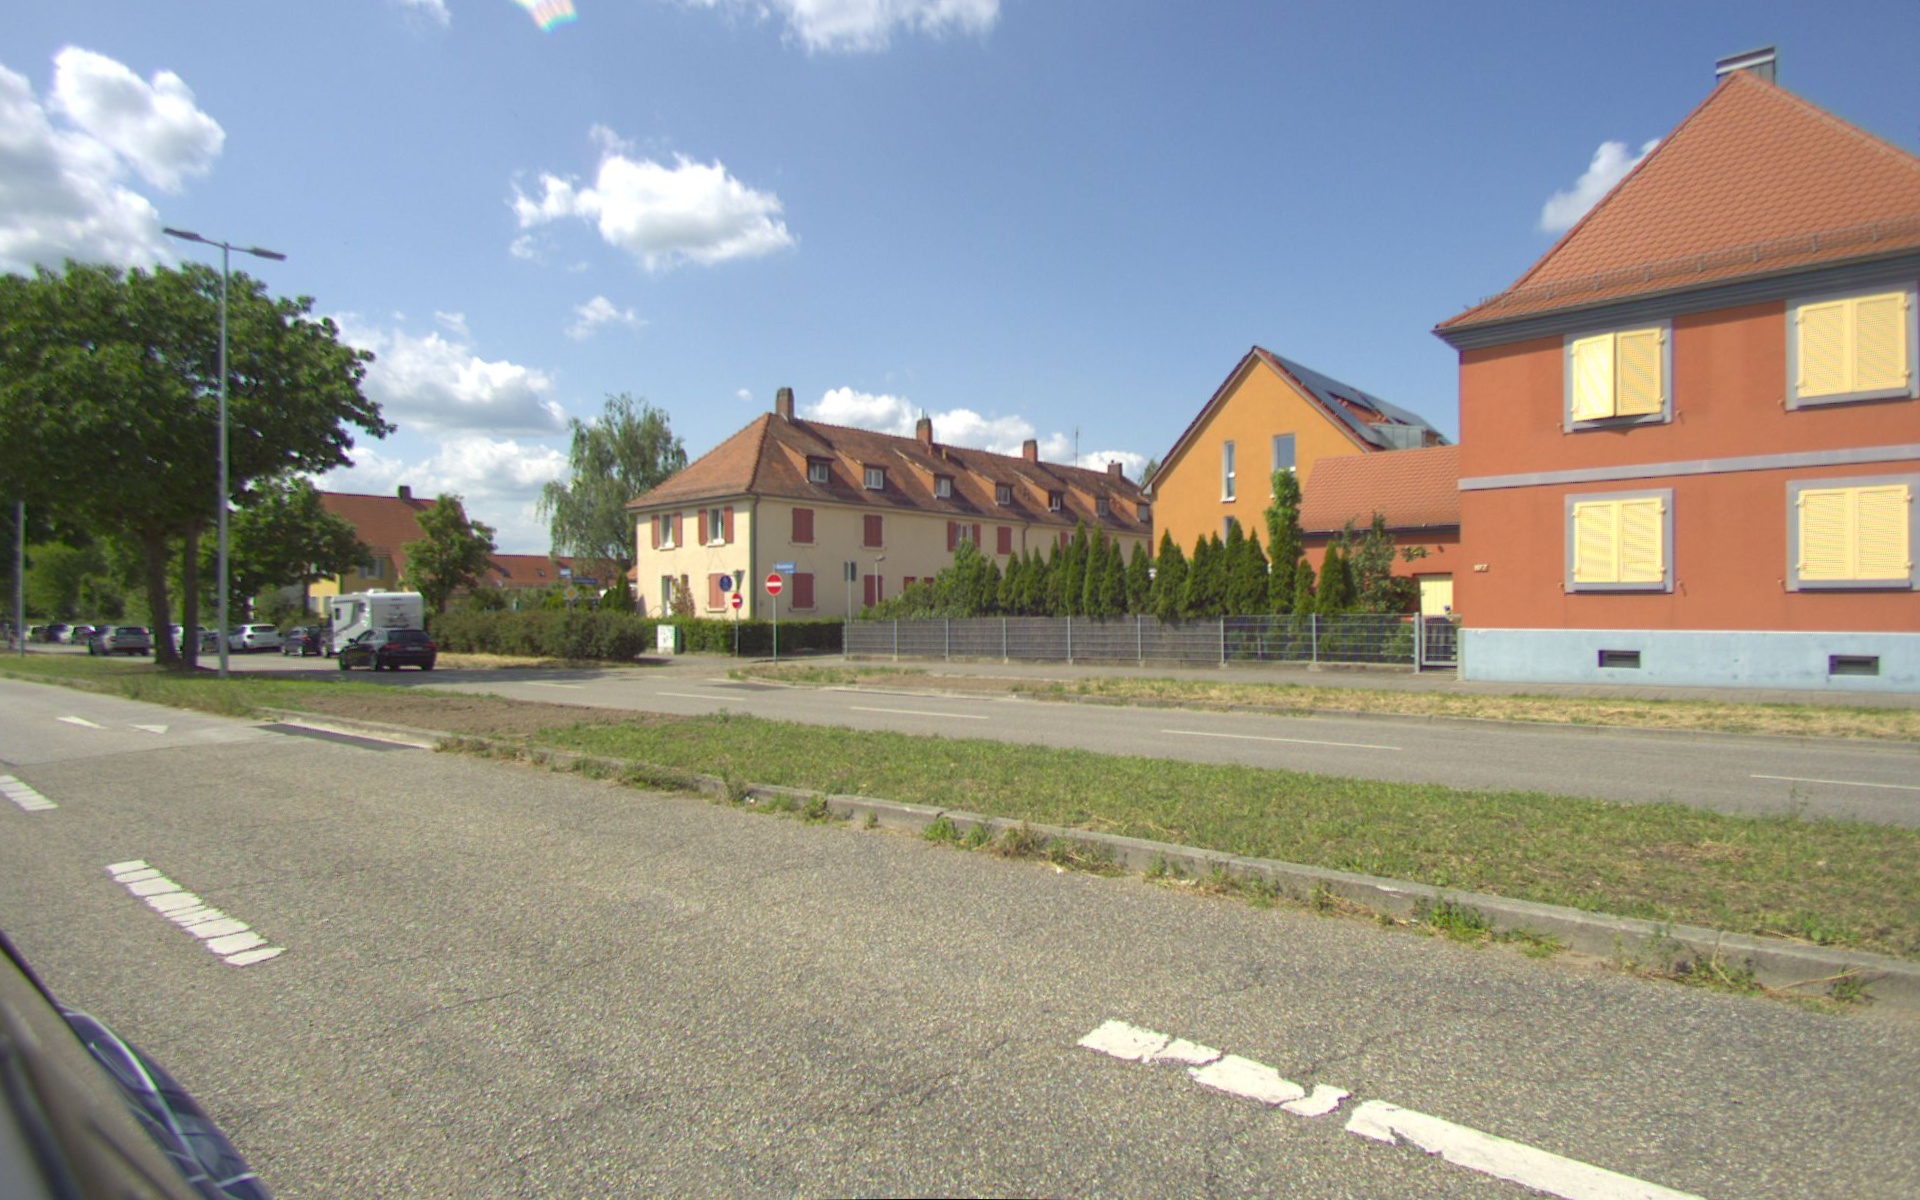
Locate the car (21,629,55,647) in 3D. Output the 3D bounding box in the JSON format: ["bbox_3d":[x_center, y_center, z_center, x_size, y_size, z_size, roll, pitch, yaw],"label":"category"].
[{"bbox_3d":[-82.052,3.369,90.075,3.529,1.472,1.579,-1,1,37],"label":"car"}]

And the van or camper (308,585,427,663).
[{"bbox_3d":[-26.434,1.073,45.001,7.315,3.135,2.236,-2,0,41],"label":"van or camper"}]

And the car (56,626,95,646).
[{"bbox_3d":[-71.255,2.898,81.527,3.841,1.462,1.645,-1,1,37],"label":"car"}]

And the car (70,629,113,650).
[{"bbox_3d":[-65.864,3.004,76.750,4.097,1.492,1.645,-2,1,37],"label":"car"}]

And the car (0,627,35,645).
[{"bbox_3d":[-90.254,3.442,96.905,3.994,1.563,1.751,-1,1,37],"label":"car"}]

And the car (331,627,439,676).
[{"bbox_3d":[-19.030,1.649,33.400,4.575,1.449,1.753,-1,-2,42],"label":"car"}]

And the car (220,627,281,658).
[{"bbox_3d":[-38.395,2.266,54.741,4.121,1.496,1.672,0,2,40],"label":"car"}]

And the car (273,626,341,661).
[{"bbox_3d":[-31.820,2.101,49.283,3.989,1.496,1.620,0,2,40],"label":"car"}]

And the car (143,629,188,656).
[{"bbox_3d":[-51.321,2.724,65.335,3.737,1.569,1.389,-1,1,38],"label":"car"}]

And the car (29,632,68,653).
[{"bbox_3d":[-77.310,3.576,85.821,4.307,1.624,1.645,-1,1,37],"label":"car"}]

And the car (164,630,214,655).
[{"bbox_3d":[-47.474,2.591,62.298,4.527,1.380,1.496,-2,1,40],"label":"car"}]

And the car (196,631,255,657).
[{"bbox_3d":[-42.071,2.502,57.919,4.580,1.316,1.620,-2,1,40],"label":"car"}]

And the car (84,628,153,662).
[{"bbox_3d":[-41.157,2.164,49.467,4.649,1.519,1.715,0,-4,40],"label":"car"}]
